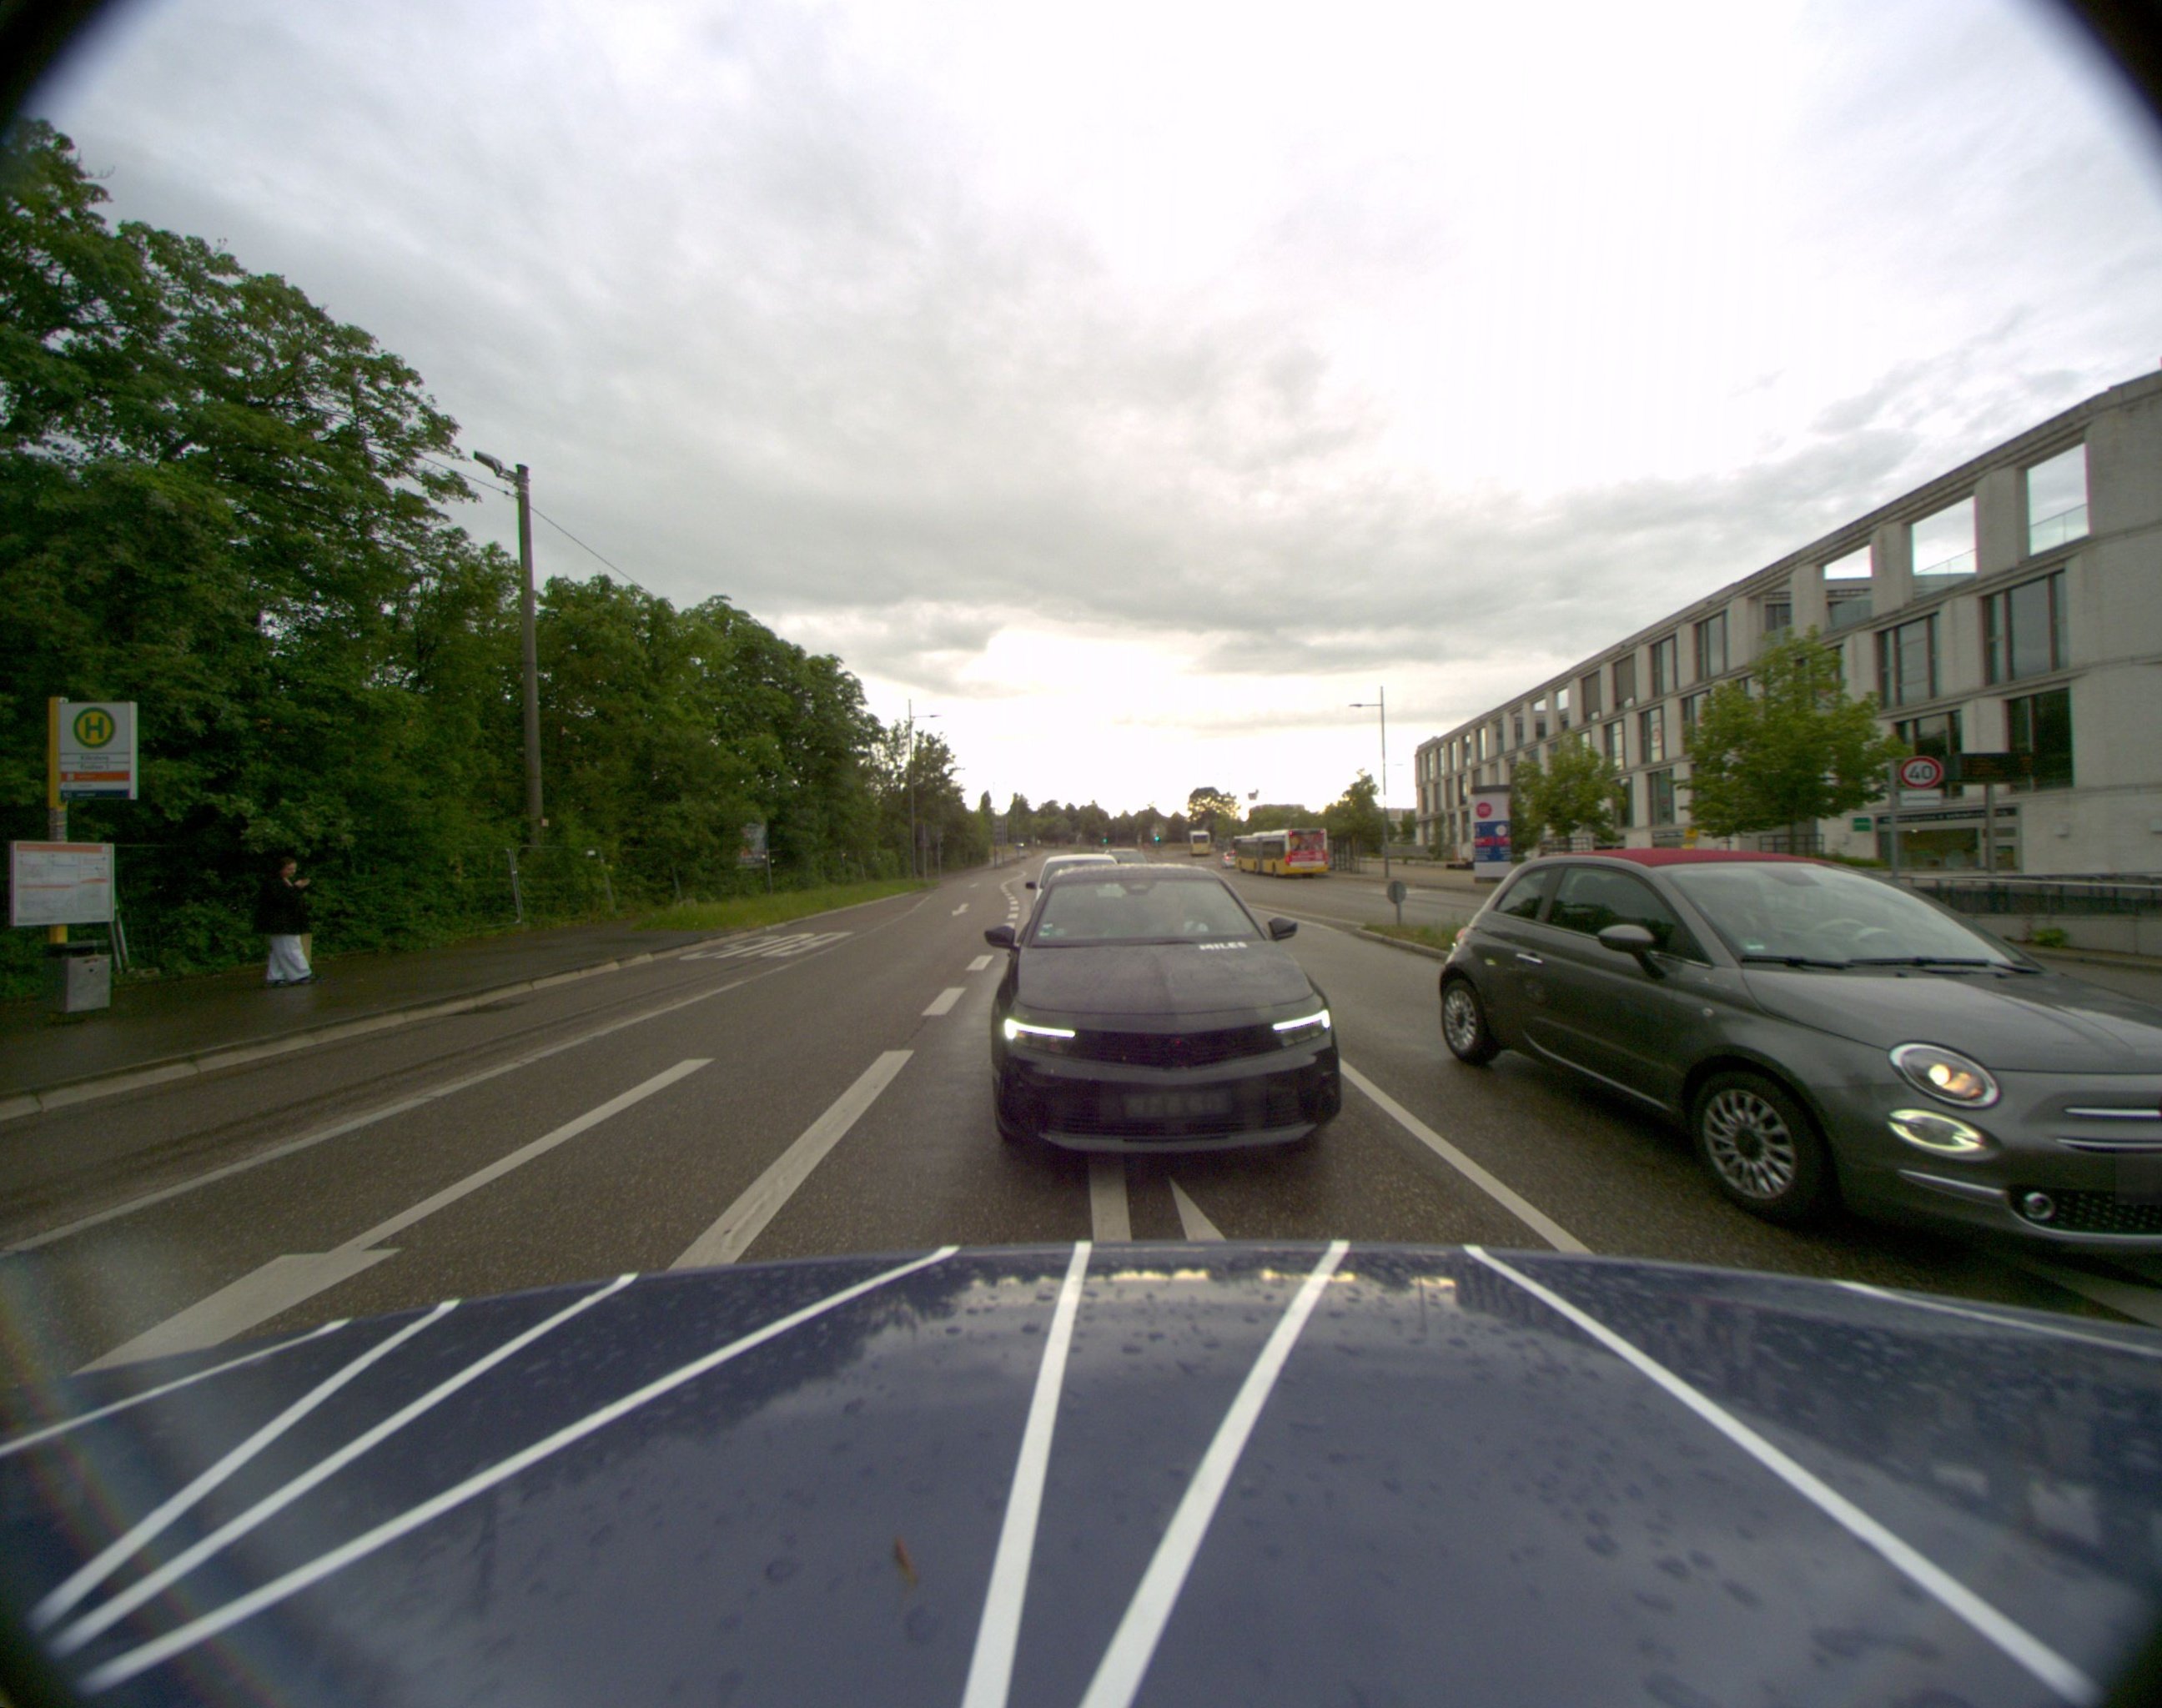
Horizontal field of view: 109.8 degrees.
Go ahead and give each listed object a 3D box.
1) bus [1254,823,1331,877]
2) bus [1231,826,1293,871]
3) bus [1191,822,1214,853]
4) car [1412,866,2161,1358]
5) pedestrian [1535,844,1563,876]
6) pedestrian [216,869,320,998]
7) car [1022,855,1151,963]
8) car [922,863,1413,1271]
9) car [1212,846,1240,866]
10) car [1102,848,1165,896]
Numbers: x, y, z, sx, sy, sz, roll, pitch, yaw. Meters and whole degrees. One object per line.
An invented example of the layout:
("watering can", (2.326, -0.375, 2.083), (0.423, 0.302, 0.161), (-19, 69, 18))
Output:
("bus", (13.823, -0.306, 50.535), (2.759, 3.194, 9.207), (-2, 1, 2))
("bus", (14.115, -0.445, 60.040), (2.693, 3.163, 9.912), (-2, 1, 2))
("bus", (18.369, -2.408, 113.863), (2.757, 4.129, 19.359), (-2, 1, 11))
("car", (3.452, 0.857, 4.205), (1.631, 1.473, 3.505), (-1, 1, -2))
("pedestrian", (23.905, 0.283, 38.784), (0.982, 1.572, 0.867), (-2, 1, 15))
("pedestrian", (-10.625, 1.012, 9.950), (0.588, 1.618, 0.661), (-1, 1, 1))
("car", (0.121, 0.838, 13.929), (1.901, 1.524, 4.767), (-2, 1, 1))
("car", (0.379, 0.886, 5.410), (1.901, 1.456, 4.767), (-2, 1, 1))
("car", (13.578, 0.172, 71.205), (1.867, 1.777, 3.999), (-2, 1, 1))
("car", (1.899, 0.616, 28.800), (1.934, 1.649, 4.617), (-1, 0, -2))
